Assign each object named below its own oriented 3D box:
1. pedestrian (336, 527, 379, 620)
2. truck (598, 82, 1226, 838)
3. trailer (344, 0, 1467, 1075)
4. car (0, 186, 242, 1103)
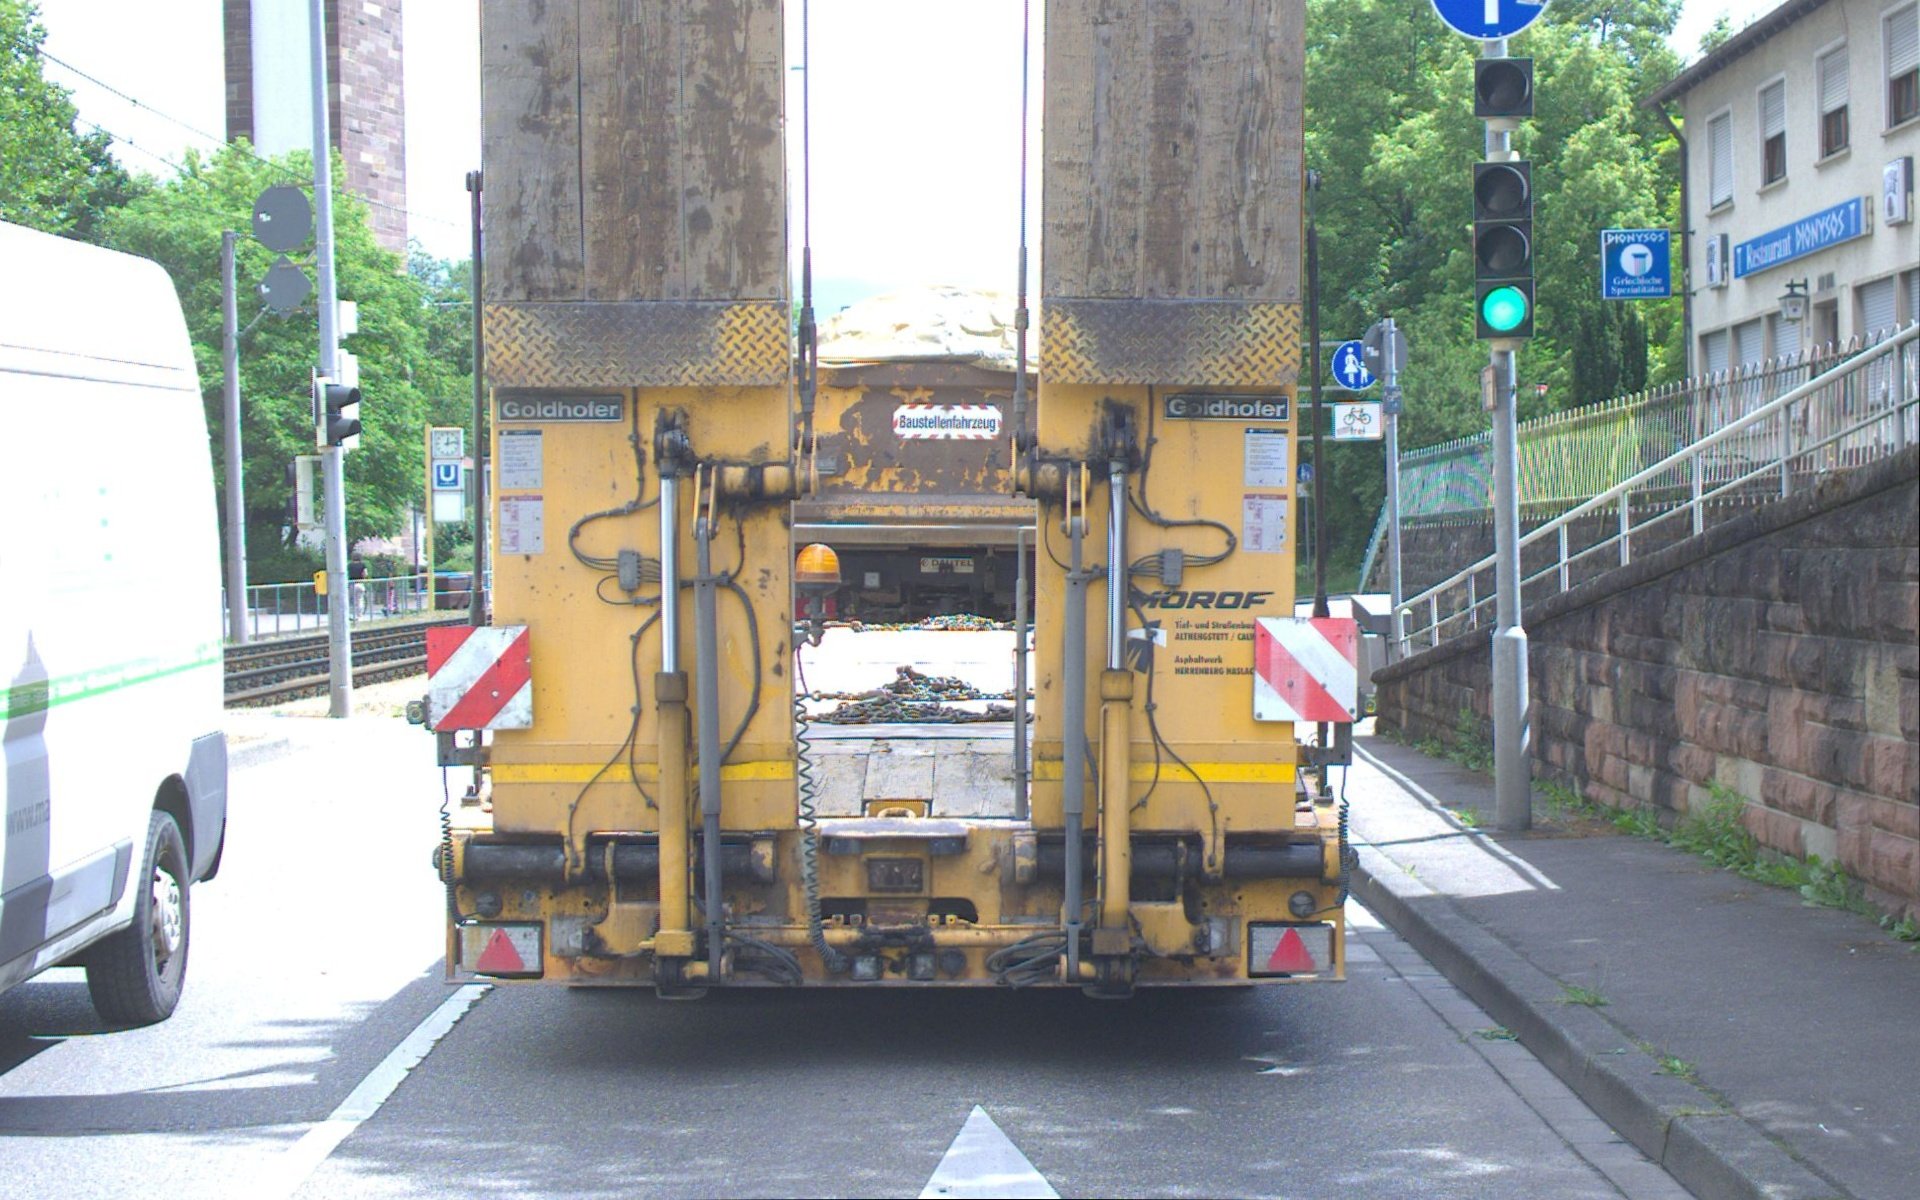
[{"bbox_3d":[-13.187,-0.578,75.252,0.722,2.007,0.739,1,1,4],"label":"pedestrian"},{"bbox_3d":[-0.251,-0.709,18.832,2.942,3.560,4.877,-1,1,-1],"label":"truck"},{"bbox_3d":[-0.193,-0.625,13.482,2.945,3.589,8.684,-1,1,-1],"label":"trailer"},{"bbox_3d":[-3.468,0.100,9.157,2.013,2.351,5.383,1,1,-1],"label":"car"}]
